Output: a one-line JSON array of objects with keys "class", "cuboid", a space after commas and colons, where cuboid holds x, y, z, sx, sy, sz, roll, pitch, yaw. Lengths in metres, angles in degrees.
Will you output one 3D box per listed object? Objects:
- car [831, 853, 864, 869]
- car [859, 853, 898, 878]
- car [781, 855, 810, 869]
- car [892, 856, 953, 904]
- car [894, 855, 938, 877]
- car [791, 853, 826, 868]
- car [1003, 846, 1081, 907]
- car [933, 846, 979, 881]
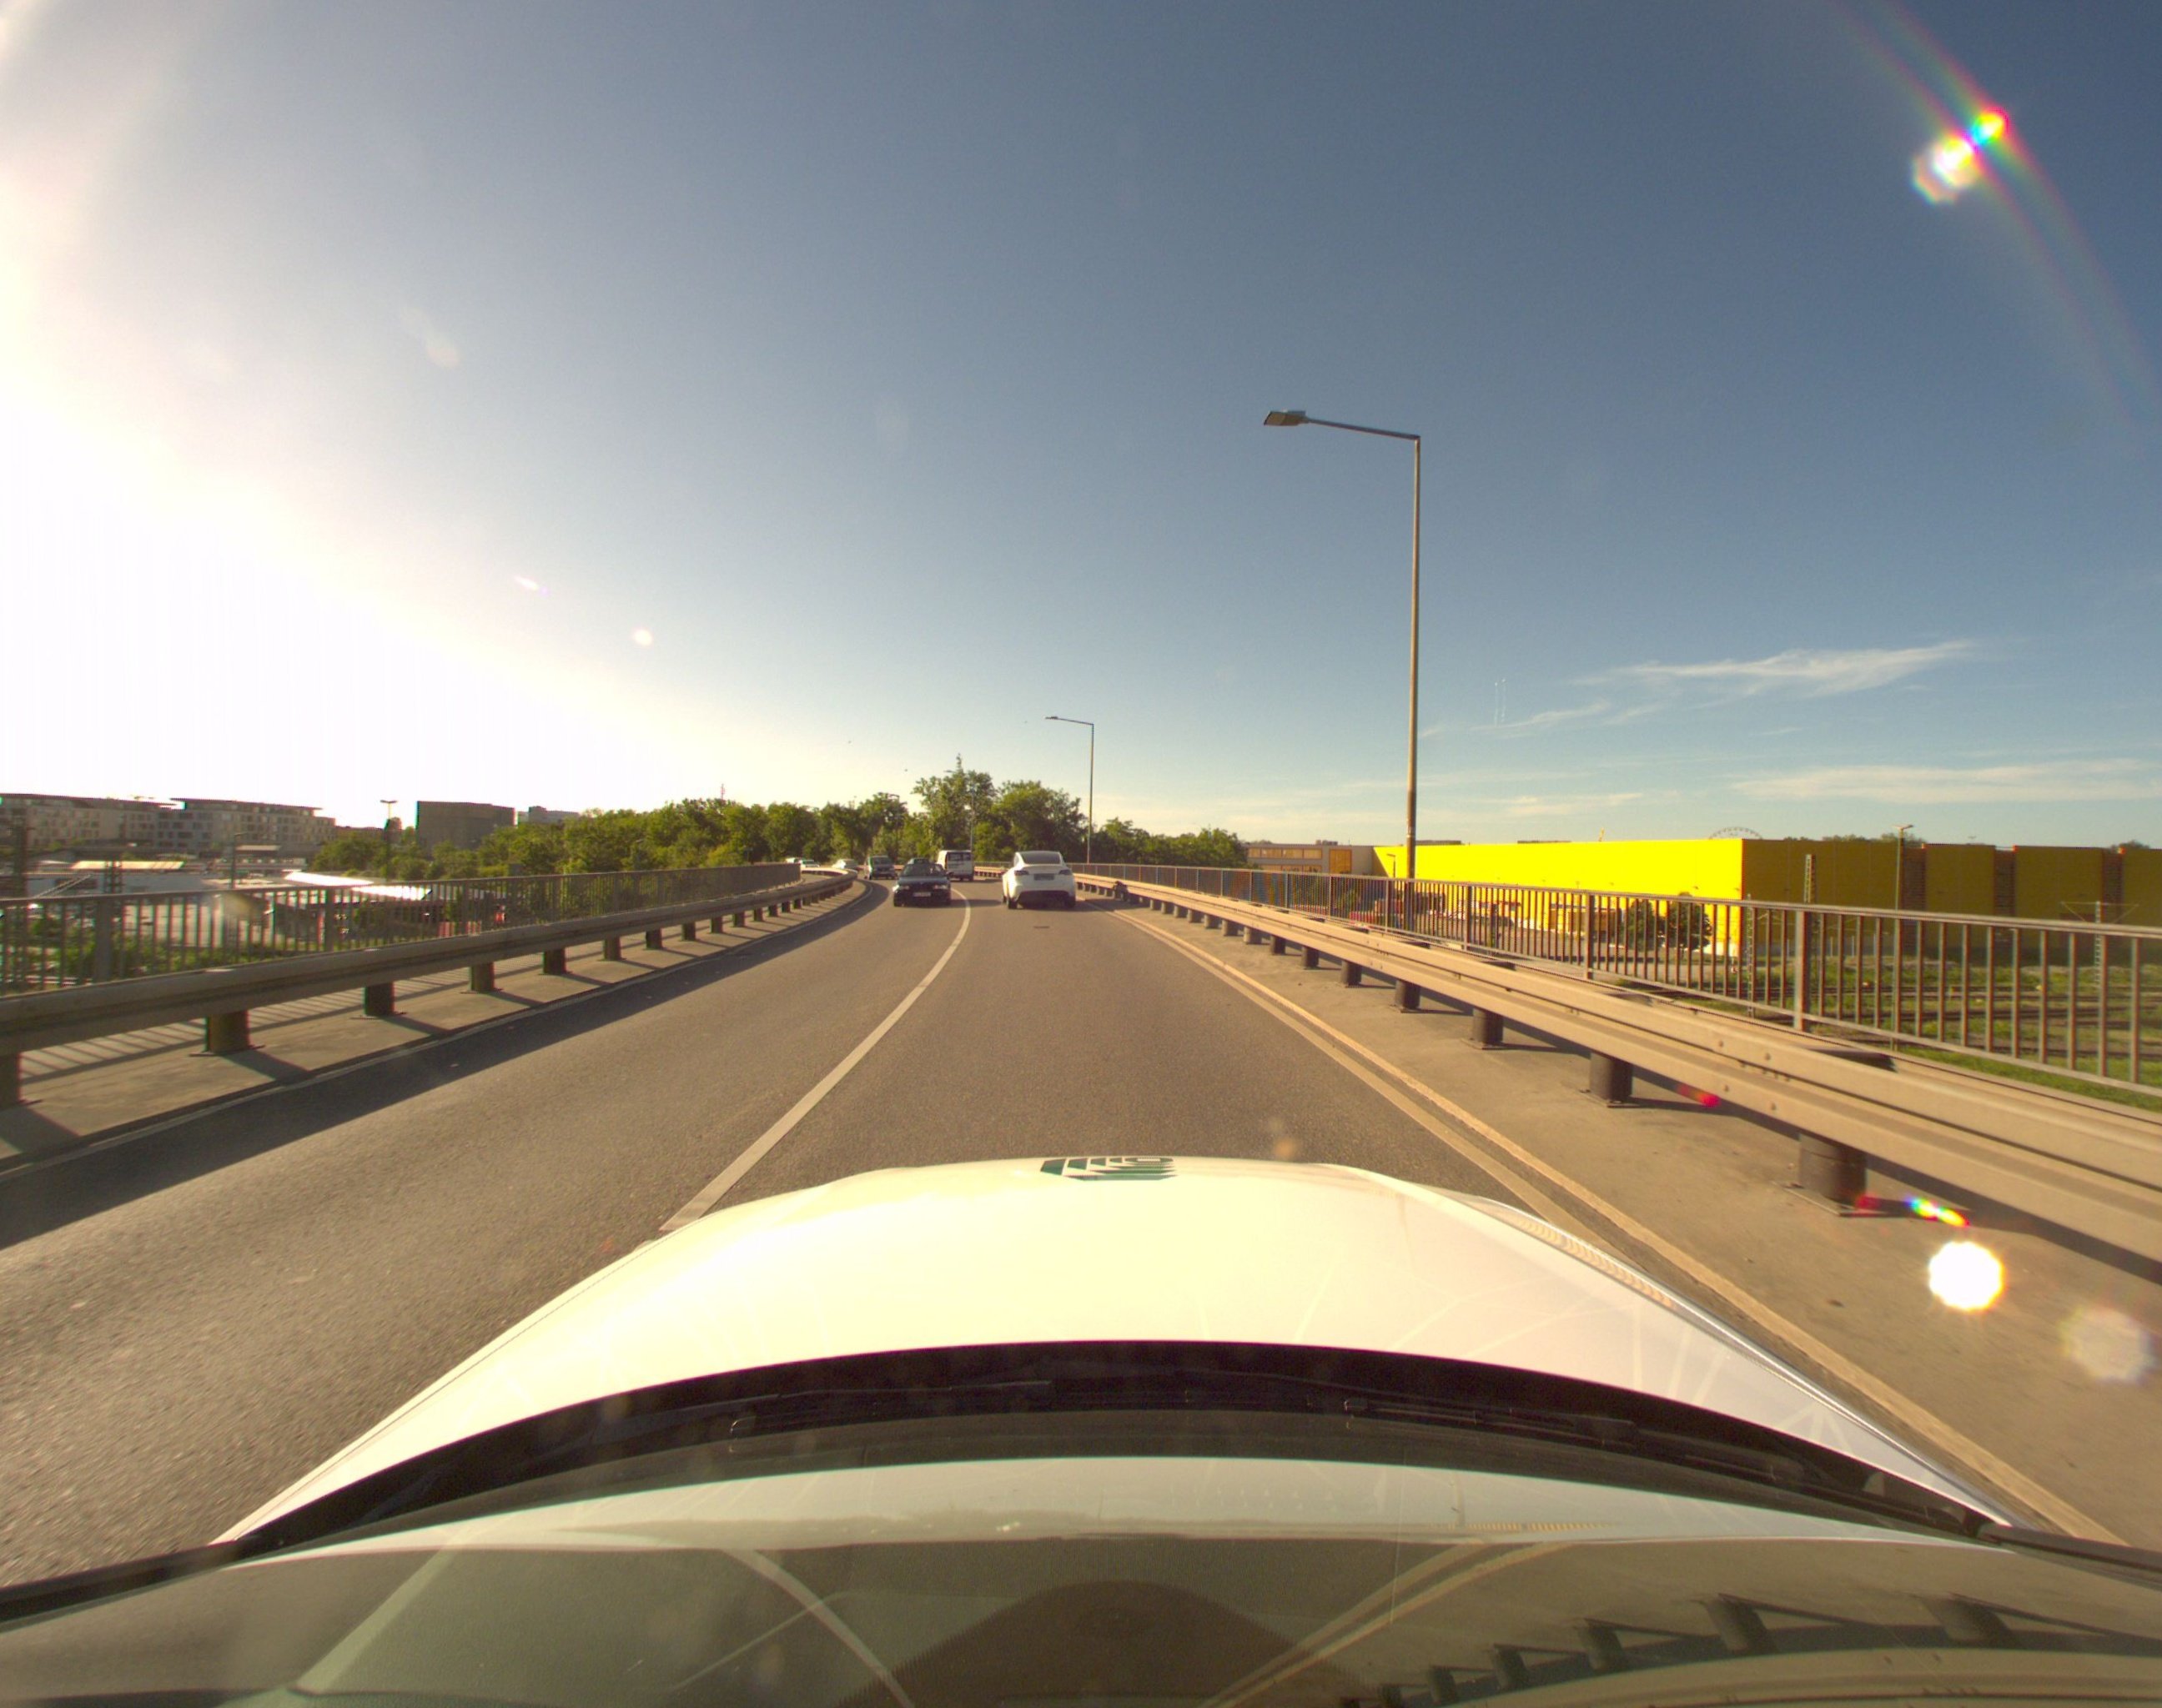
[{"class": "car", "cuboid": [-24.190, 0.729, 84.284, 1.875, 1.585, 3.868, -1, 0, -41]}, {"class": "car", "cuboid": [-14.019, 0.766, 56.207, 1.857, 1.623, 4.069, -1, 0, -24]}, {"class": "car", "cuboid": [-34.644, 0.992, 98.842, 1.852, 1.555, 3.846, -1, 0, -43]}, {"class": "car", "cuboid": [-5.000, 0.762, 26.126, 1.744, 1.355, 4.170, -1, 0, -9]}, {"class": "car", "cuboid": [-12.872, 0.940, 63.375, 1.983, 1.638, 3.958, -2, 0, -33]}, {"class": "car", "cuboid": [-28.328, 0.688, 84.584, 3.722, 1.519, 1.854, -1, 0, 42]}, {"class": "car", "cuboid": [-1.243, 0.615, 24.113, 1.983, 1.638, 4.052, -1, 0, -7]}, {"class": "car", "cuboid": [-7.583, 0.558, 48.954, 2.011, 1.940, 4.440, -1, 0, -18]}]
